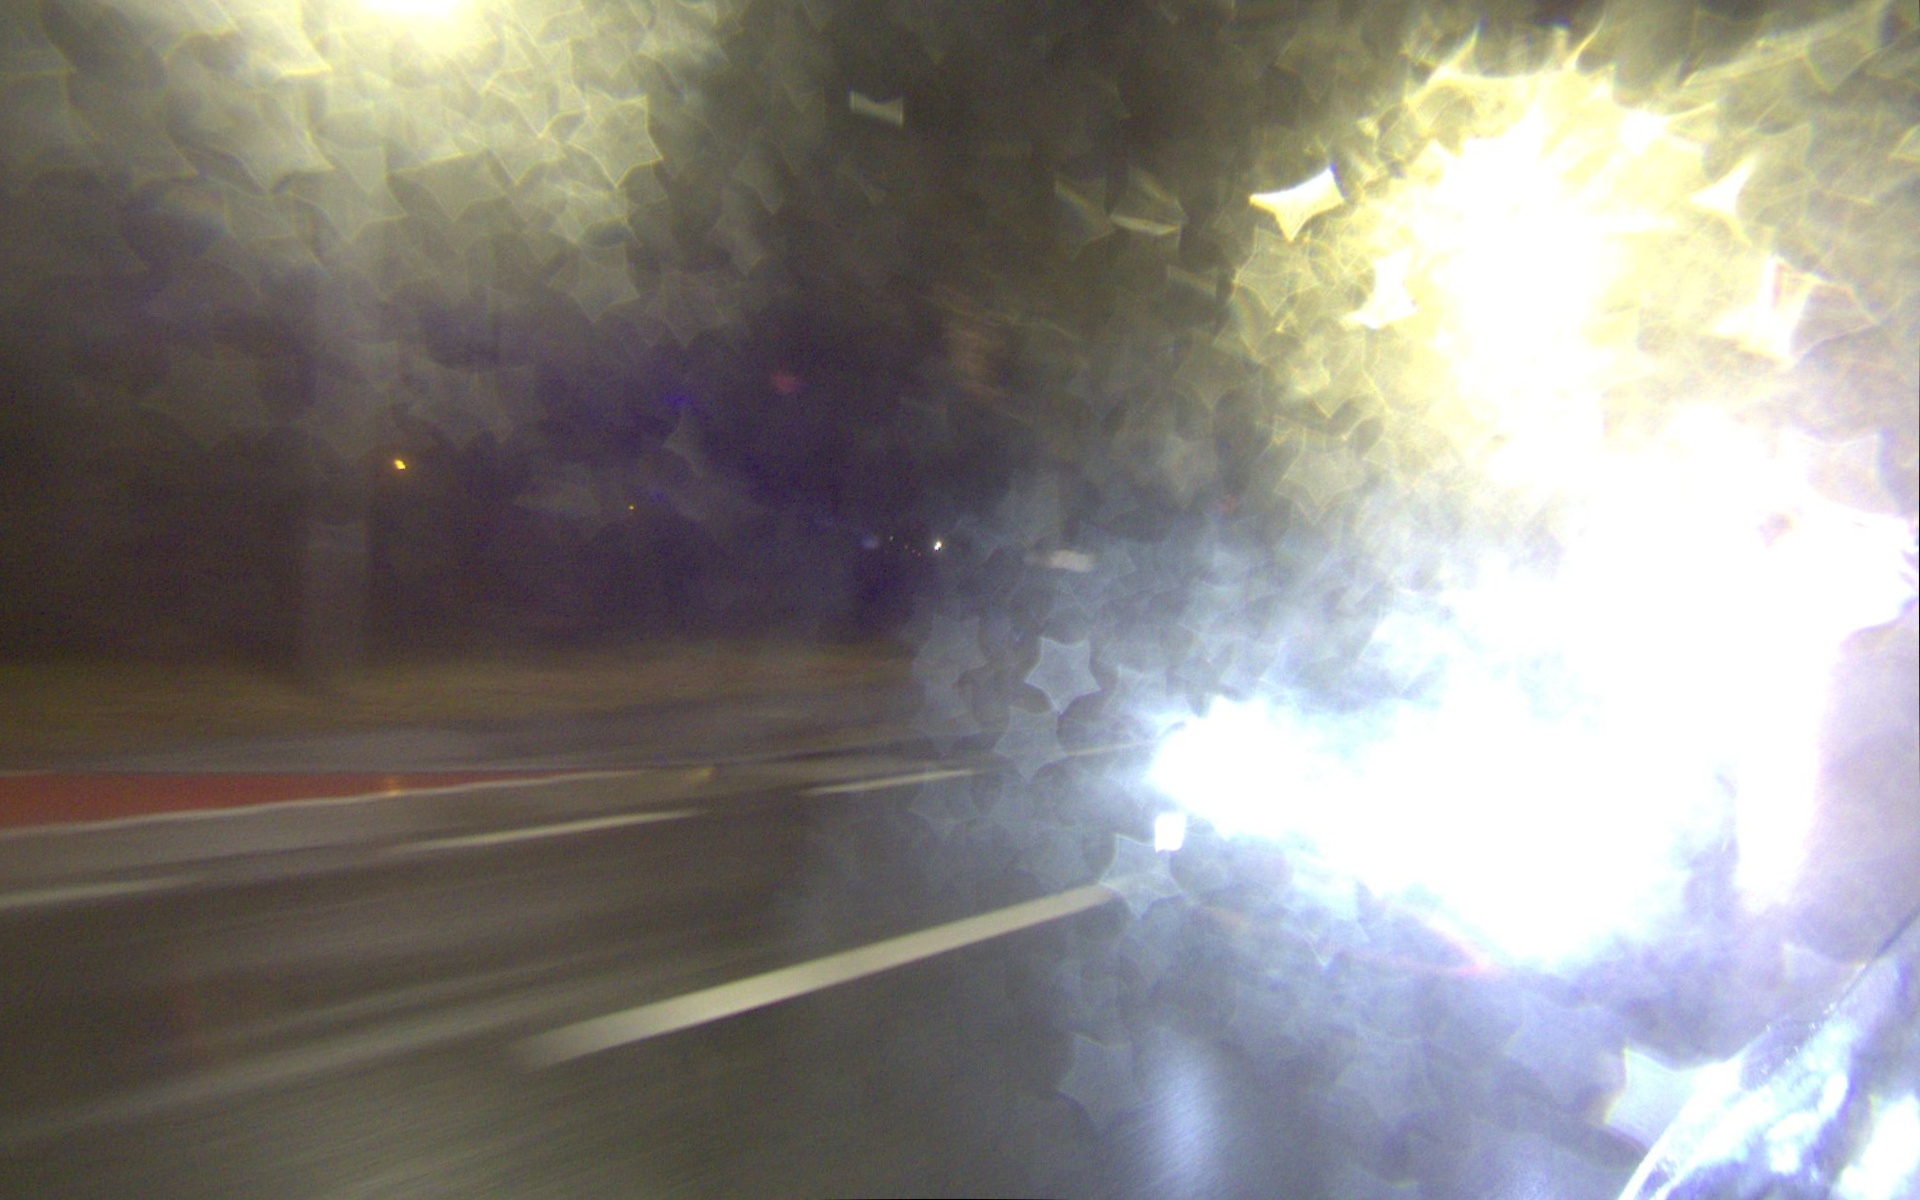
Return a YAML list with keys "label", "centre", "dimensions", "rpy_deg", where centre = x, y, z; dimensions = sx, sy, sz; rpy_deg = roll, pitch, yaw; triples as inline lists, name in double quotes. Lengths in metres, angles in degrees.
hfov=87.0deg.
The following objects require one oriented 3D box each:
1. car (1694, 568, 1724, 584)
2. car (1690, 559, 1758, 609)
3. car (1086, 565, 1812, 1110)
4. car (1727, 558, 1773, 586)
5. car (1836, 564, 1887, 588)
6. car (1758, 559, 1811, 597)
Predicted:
- label: "car"
  centre: [75.950, -2.483, 102.649]
  dimensions: [1.815, 1.522, 4.149]
  rpy_deg: [1, 3, 28]
- label: "car"
  centre: [30.428, -0.673, 40.249]
  dimensions: [1.929, 1.896, 3.943]
  rpy_deg: [0, 1, 40]
- label: "car"
  centre: [2.635, 0.679, 4.975]
  dimensions: [3.934, 1.544, 1.995]
  rpy_deg: [0, 0, -44]
- label: "car"
  centre: [59.189, -2.069, 75.894]
  dimensions: [1.983, 1.957, 3.959]
  rpy_deg: [4, 3, 29]
- label: "car"
  centre: [59.981, -1.616, 67.415]
  dimensions: [1.756, 1.475, 3.912]
  rpy_deg: [-1, 1, 30]
- label: "car"
  centre: [45.968, -1.210, 56.420]
  dimensions: [1.994, 1.957, 3.939]
  rpy_deg: [5, 4, 42]
